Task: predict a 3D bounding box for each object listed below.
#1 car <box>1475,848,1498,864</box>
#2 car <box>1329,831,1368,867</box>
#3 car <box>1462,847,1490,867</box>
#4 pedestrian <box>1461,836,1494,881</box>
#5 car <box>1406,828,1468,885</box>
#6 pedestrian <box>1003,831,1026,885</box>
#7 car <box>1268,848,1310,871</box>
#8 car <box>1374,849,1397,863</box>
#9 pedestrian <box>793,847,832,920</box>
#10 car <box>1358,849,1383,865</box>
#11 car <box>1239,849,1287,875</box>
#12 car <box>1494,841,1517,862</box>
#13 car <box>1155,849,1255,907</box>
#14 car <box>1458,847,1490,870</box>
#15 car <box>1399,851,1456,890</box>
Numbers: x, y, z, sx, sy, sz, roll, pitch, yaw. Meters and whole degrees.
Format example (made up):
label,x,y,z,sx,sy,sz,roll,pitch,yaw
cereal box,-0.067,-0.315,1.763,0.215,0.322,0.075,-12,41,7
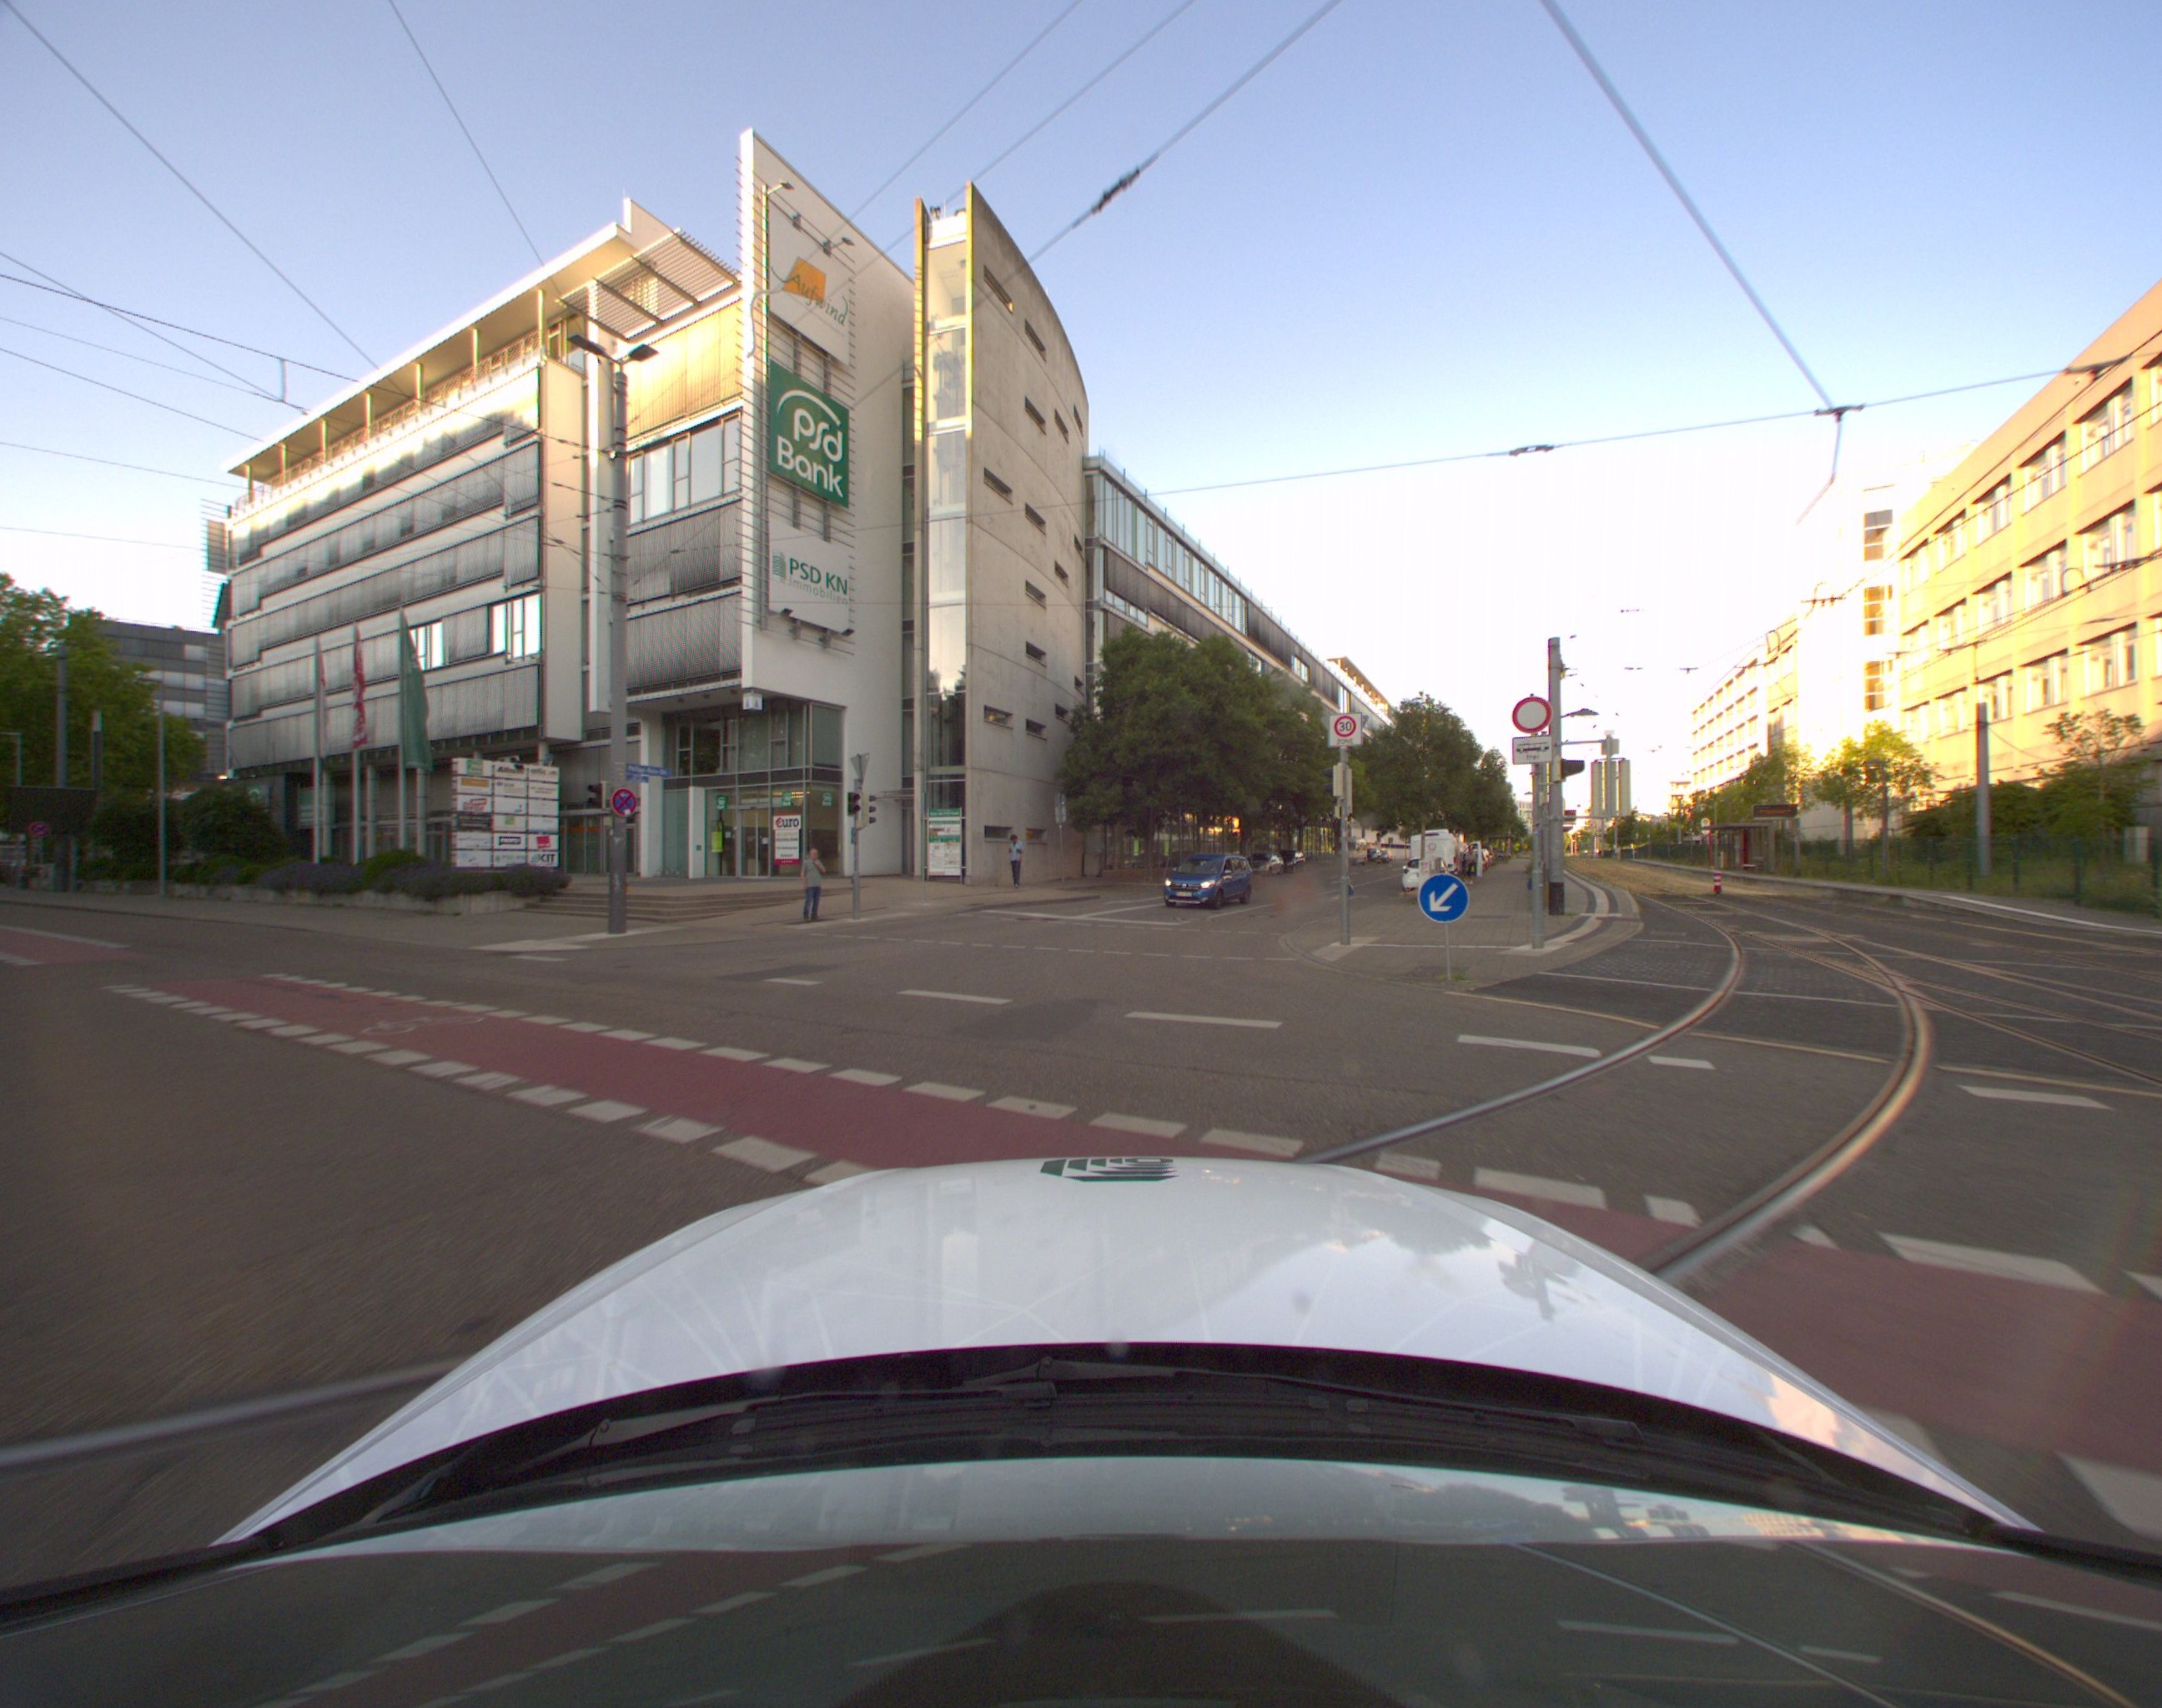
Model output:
label,x,y,z,sx,sy,sz,roll,pitch,yaw
car,36.045,0.174,72.396,1.667,1.439,4.151,0,0,29
car,24.461,-0.493,74.409,2.180,3.152,6.181,0,0,30
car,30.377,0.224,62.586,1.667,1.439,4.151,0,0,29
pedestrian,18.532,0.204,38.094,1.036,2.030,0.984,0,0,1
car,16.794,0.102,38.260,2.438,2.482,5.842,0,0,25
pedestrian,-2.411,0.143,29.634,0.656,1.922,0.550,-1,0,18
car,14.124,0.343,55.160,1.667,1.501,4.265,0,0,30
car,33.257,0.250,88.952,1.667,1.501,4.265,0,0,30
pedestrian,-6.397,0.686,19.408,0.541,1.711,0.664,-1,0,39
car,29.309,0.285,82.432,1.667,1.501,4.265,0,0,30
car,11.159,0.456,49.791,1.667,1.501,4.265,0,0,30
car,42.512,-0.261,81.594,1.975,2.013,4.024,0,0,27
car,4.064,0.695,26.126,1.666,1.700,4.265,0,0,31
car,26.501,0.283,54.858,1.667,1.439,4.151,0,0,29
car,14.007,0.618,32.812,1.667,1.439,4.151,0,0,29
